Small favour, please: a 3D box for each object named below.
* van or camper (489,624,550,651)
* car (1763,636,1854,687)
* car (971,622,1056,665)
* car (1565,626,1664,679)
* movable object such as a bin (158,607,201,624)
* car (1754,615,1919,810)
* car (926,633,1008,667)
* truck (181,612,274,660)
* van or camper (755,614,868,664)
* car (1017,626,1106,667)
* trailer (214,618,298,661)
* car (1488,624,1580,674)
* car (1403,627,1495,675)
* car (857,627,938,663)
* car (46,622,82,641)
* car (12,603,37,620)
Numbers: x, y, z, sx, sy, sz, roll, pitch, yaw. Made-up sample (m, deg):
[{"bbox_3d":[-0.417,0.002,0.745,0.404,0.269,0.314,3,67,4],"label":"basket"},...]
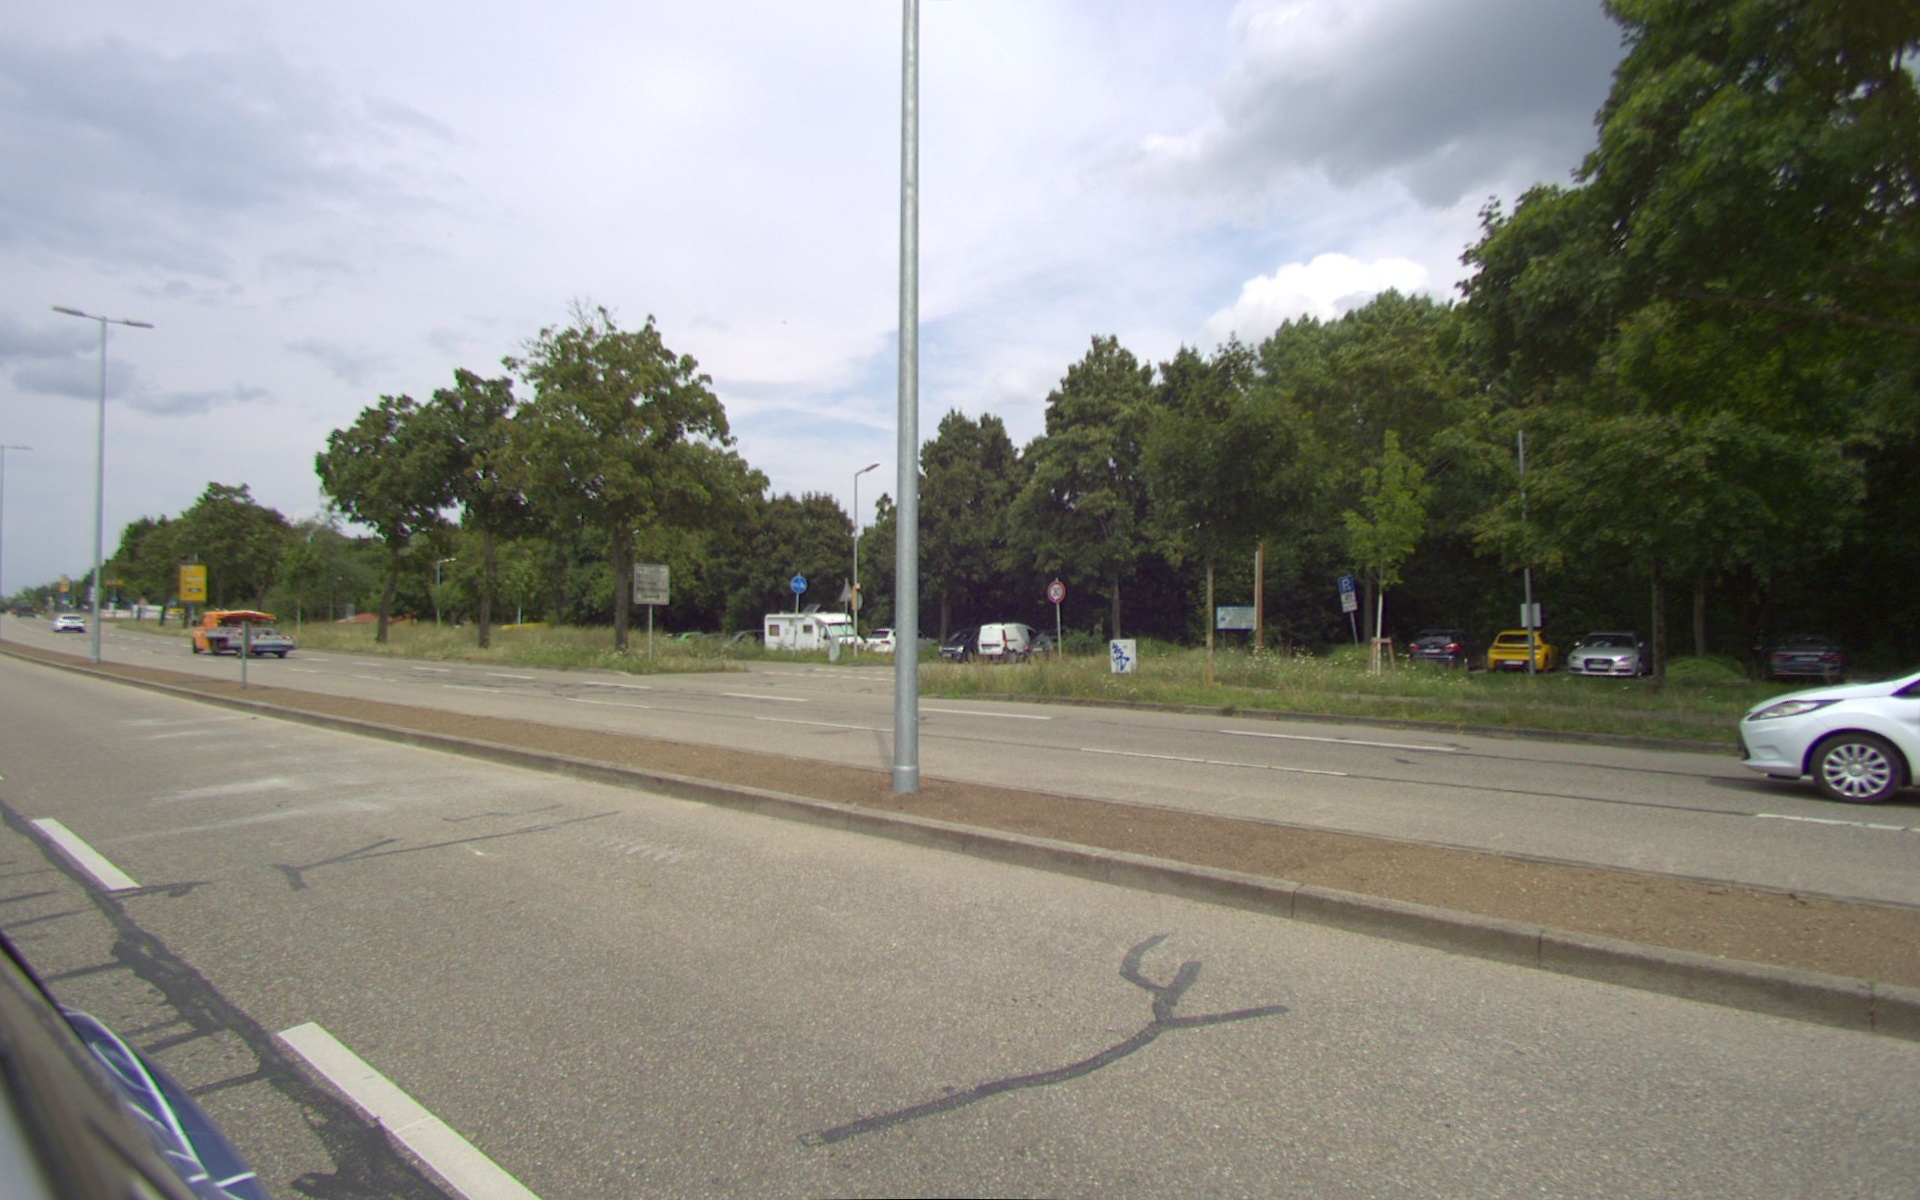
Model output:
[{"bbox_3d":[-37.154,3.161,85.423,4.298,2.029,2.004,-1,0,-38],"label":"van or camper"},{"bbox_3d":[24.155,1.703,28.776,1.785,1.267,3.668,-2,-2,43],"label":"car"},{"bbox_3d":[2.510,1.992,46.953,1.938,1.901,3.945,-2,-2,41],"label":"car"},{"bbox_3d":[20.587,1.594,31.764,1.885,1.510,4.135,-2,-2,43],"label":"car"},{"bbox_3d":[-112.157,2.280,145.535,1.995,2.415,4.540,-2,-2,34],"label":"movable object such as a bin"},{"bbox_3d":[8.626,0.854,7.686,3.997,1.488,1.672,-2,-3,41],"label":"car"},{"bbox_3d":[0.366,2.340,48.319,1.796,1.497,3.945,-2,-2,41],"label":"car"},{"bbox_3d":[-32.537,1.622,44.876,6.037,2.010,2.066,-2,-4,42],"label":"truck"},{"bbox_3d":[-8.182,2.100,55.245,6.719,2.560,2.445,-2,-2,42],"label":"van or camper"},{"bbox_3d":[4.594,2.050,45.451,2.045,1.726,3.945,-2,-2,41],"label":"car"},{"bbox_3d":[-29.041,1.621,41.702,3.895,1.702,2.040,-1,-3,43],"label":"trailer"},{"bbox_3d":[19.100,1.594,33.596,1.785,1.510,3.943,-2,-2,43],"label":"car"},{"bbox_3d":[17.052,1.736,35.188,1.785,1.510,3.943,-2,-2,43],"label":"car"},{"bbox_3d":[-3.156,2.264,51.296,1.885,1.729,3.945,-2,-2,41],"label":"car"},{"bbox_3d":[-72.082,2.559,81.416,4.159,1.431,1.698,-2,-4,43],"label":"car"},{"bbox_3d":[-133.009,1.669,143.904,6.003,2.218,2.073,-1,-3,42],"label":"car"}]
